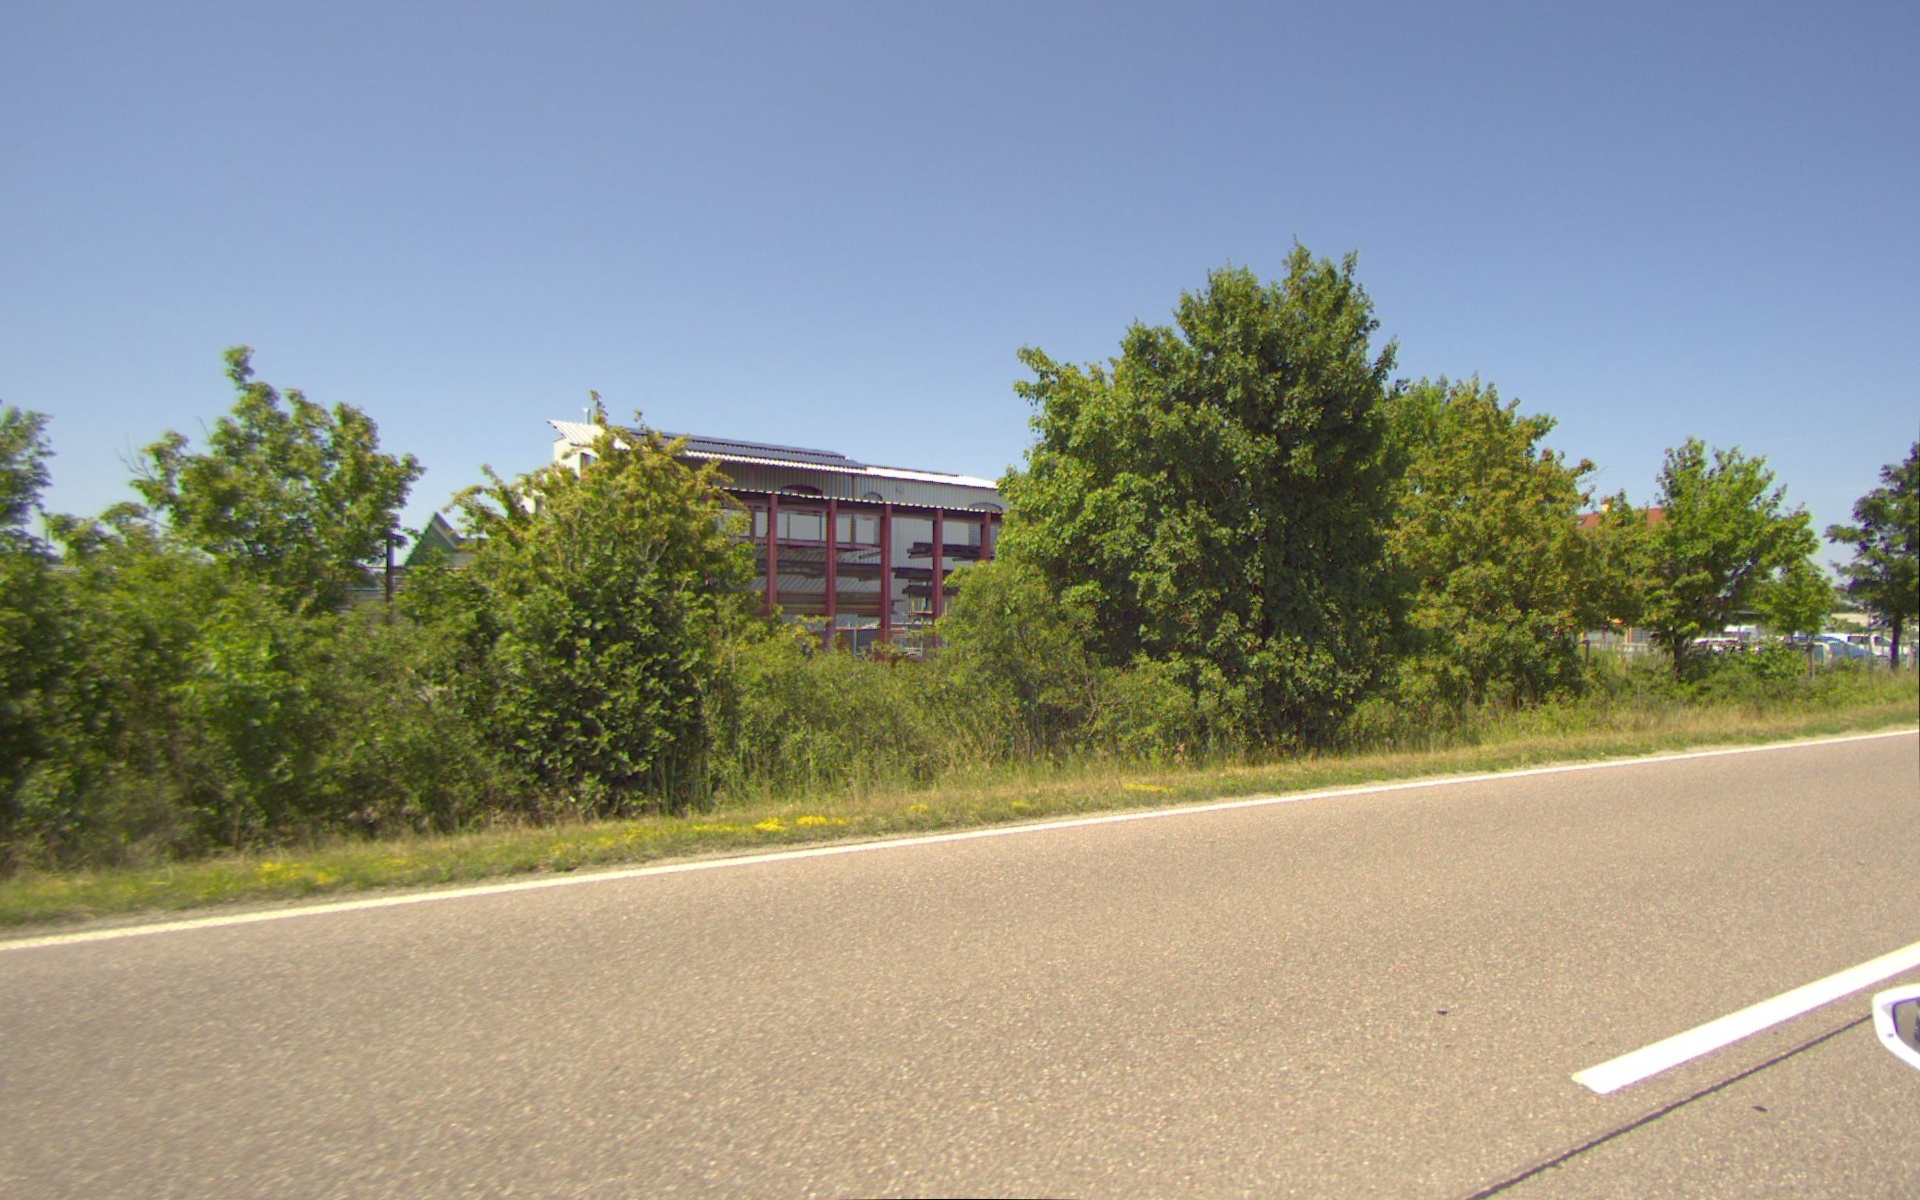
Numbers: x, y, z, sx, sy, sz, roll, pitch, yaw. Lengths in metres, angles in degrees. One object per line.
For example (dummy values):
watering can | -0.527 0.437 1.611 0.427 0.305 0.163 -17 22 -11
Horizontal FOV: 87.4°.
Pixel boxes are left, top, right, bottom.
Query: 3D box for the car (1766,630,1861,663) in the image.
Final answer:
car | 51.216 2.754 60.366 4.238 1.825 2.016 1 -1 39

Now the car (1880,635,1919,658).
car | 65.245 3.186 68.084 3.917 1.499 1.672 1 0 24

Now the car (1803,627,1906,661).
car | 57.180 2.787 64.327 4.582 1.980 1.823 1 0 30

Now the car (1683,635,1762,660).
car | 48.170 2.979 63.504 1.624 1.427 3.667 1 -1 -31
